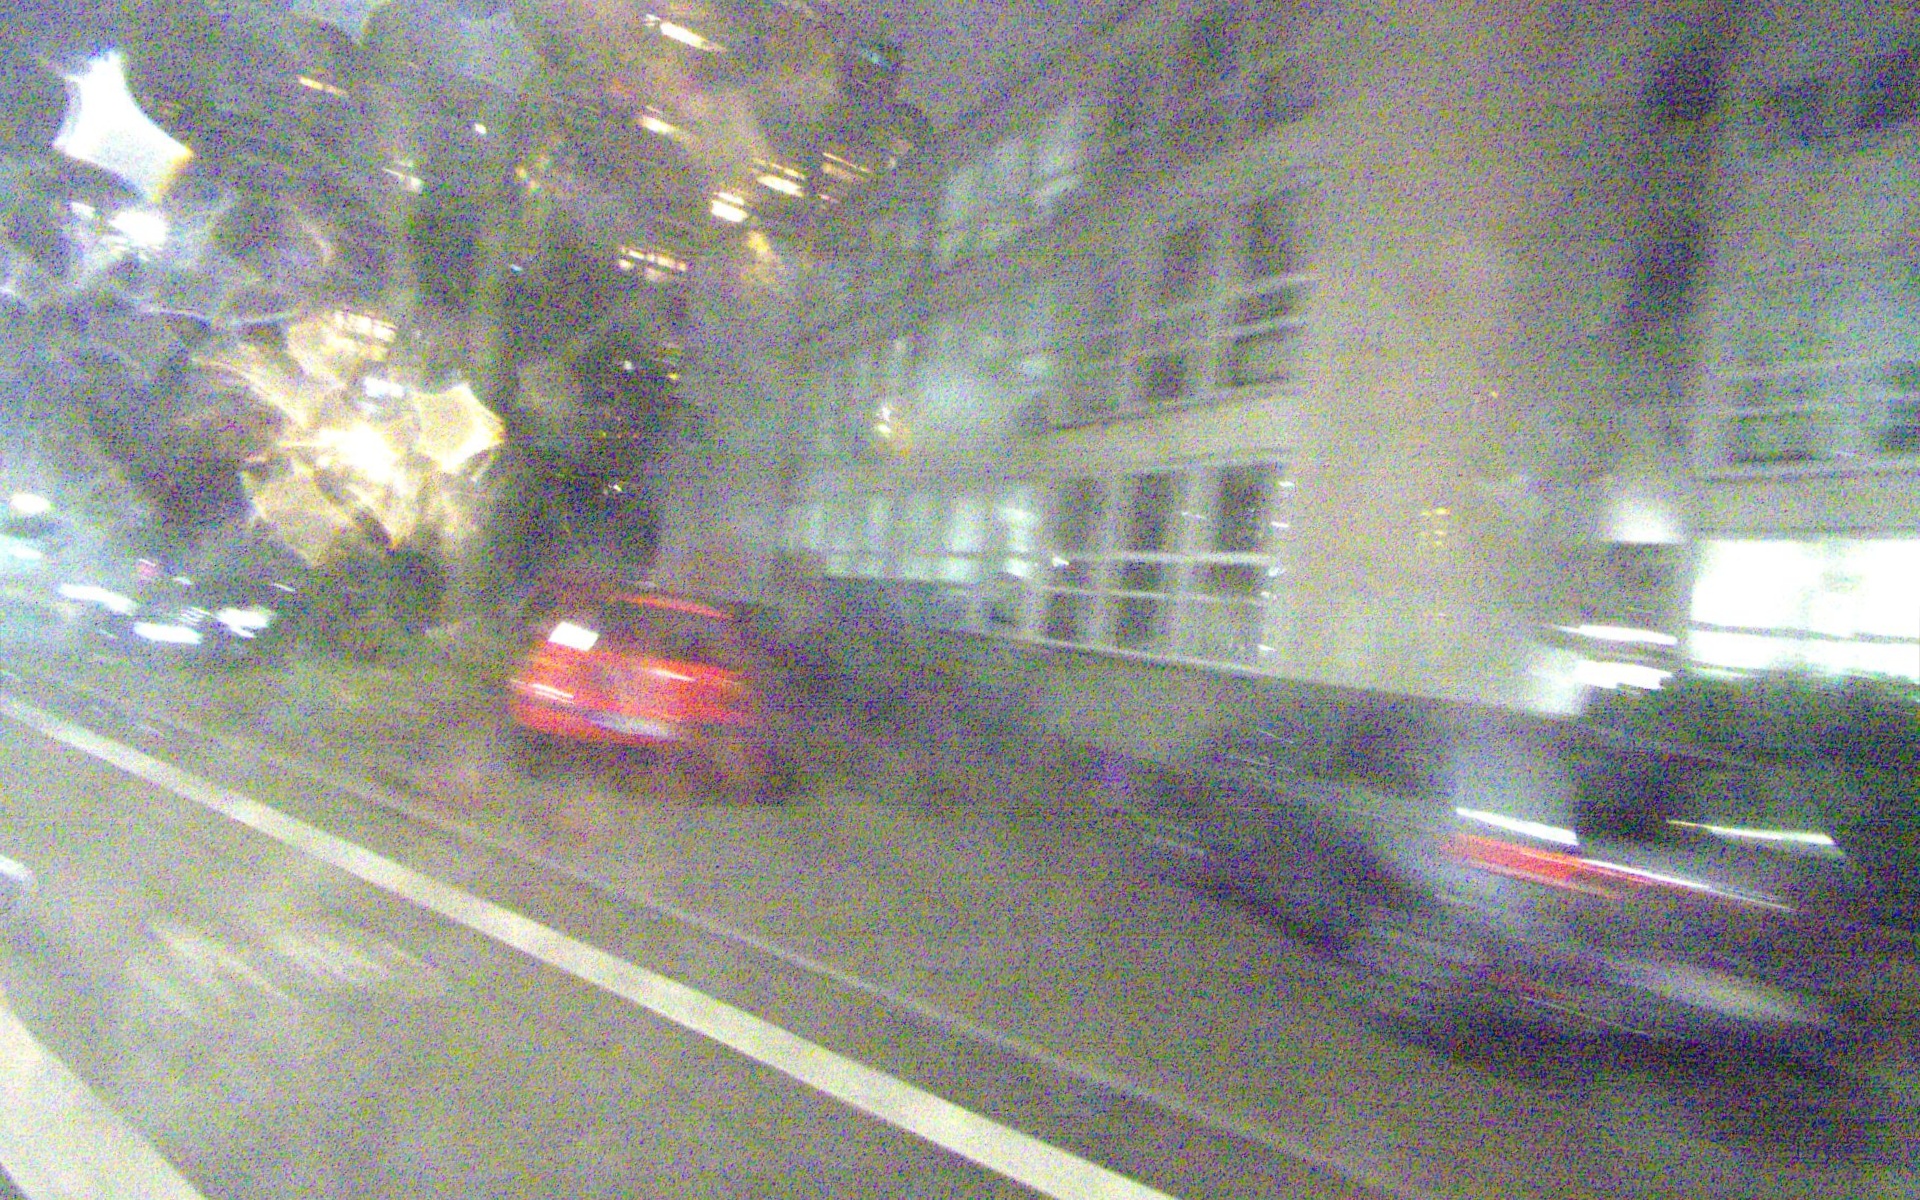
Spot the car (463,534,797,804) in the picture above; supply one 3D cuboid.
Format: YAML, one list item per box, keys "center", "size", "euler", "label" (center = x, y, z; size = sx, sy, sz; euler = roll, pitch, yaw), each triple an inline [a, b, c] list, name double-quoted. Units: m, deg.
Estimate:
- center: [-2.789, 0.553, 8.879]
  size: [2.025, 1.641, 3.819]
  euler: [9, -3, -16]
  label: "car"

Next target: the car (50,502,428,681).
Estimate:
- center: [-8.082, -0.010, 11.884]
  size: [1.920, 1.470, 4.243]
  euler: [8, -3, -12]
  label: "car"

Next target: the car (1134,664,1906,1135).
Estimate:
- center: [2.471, 1.265, 5.629]
  size: [1.610, 1.446, 3.825]
  euler: [8, -2, -9]
  label: "car"

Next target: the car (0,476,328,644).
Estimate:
- center: [-10.933, -0.414, 14.140]
  size: [1.999, 1.717, 4.241]
  euler: [8, -3, -13]
  label: "car"

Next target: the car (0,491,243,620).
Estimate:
- center: [-13.574, -0.618, 16.090]
  size: [1.881, 1.589, 3.956]
  euler: [8, -3, -13]
  label: "car"
